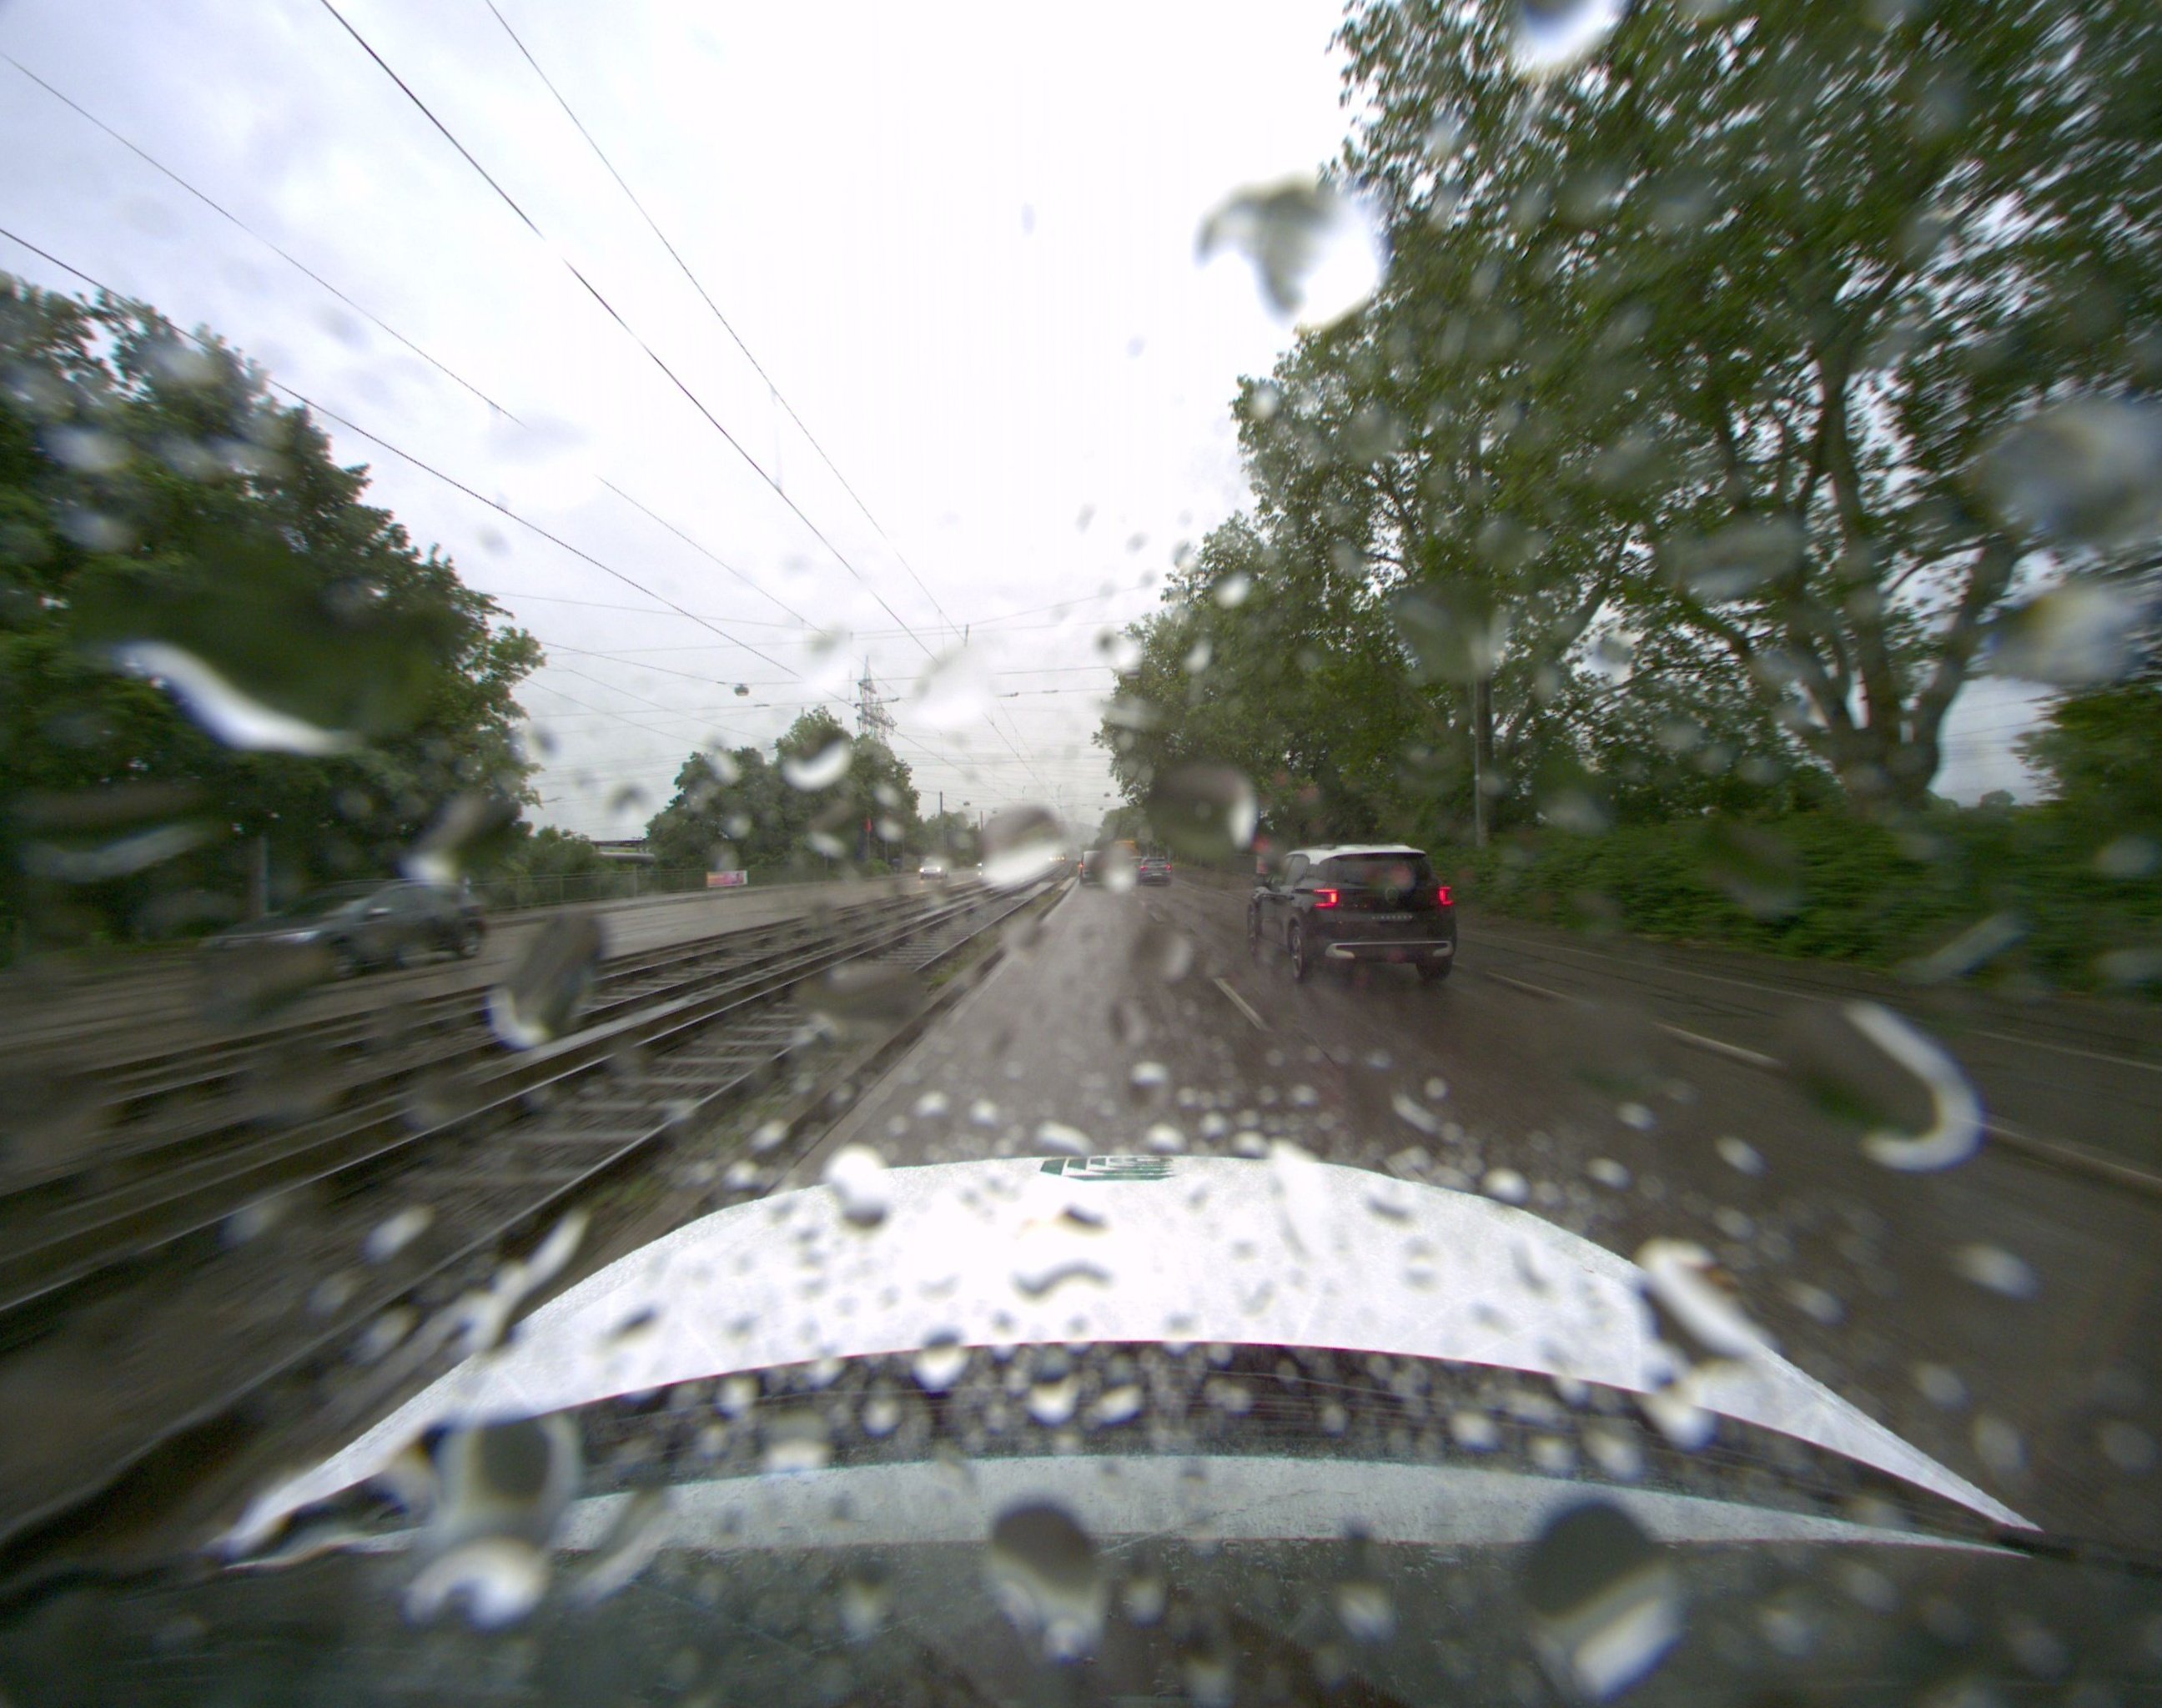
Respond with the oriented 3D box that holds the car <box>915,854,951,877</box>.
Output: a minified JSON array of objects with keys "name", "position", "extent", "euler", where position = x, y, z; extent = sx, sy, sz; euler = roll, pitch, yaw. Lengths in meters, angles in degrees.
[{"name":"car","position":[-12.213,0.930,67.555],"extent":[1.987,1.816,4.659],"euler":[-1,0,1]}]

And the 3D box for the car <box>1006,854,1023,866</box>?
[{"name":"car","position":[-8.727,0.833,106.938],"extent":[1.650,1.486,4.015],"euler":[-1,0,2]}]

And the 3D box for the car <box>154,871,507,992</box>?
[{"name":"car","position":[-12.543,1.183,14.102],"extent":[1.985,1.618,4.256],"euler":[-2,0,3]}]

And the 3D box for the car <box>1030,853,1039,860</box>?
[{"name":"car","position":[-12.427,0.740,216.617],"extent":[1.985,1.903,4.003],"euler":[0,0,2]}]

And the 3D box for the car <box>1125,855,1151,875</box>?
[{"name":"car","position":[4.254,0.815,61.410],"extent":[1.811,1.414,3.780],"euler":[0,1,2]}]

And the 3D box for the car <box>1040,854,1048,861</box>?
[{"name":"car","position":[-10.821,1.102,239.960],"extent":[1.985,1.903,4.003],"euler":[0,0,2]}]

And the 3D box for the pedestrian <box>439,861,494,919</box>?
[{"name":"pedestrian","position":[-19.774,1.144,26.240],"extent":[0.848,1.759,1.121],"euler":[-2,0,1]}]

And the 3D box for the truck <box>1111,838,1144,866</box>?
[{"name":"truck","position":[4.697,-0.216,83.855],"extent":[3.102,2.773,6.330],"euler":[-1,0,1]}]

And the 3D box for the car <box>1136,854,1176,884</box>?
[{"name":"car","position":[3.806,0.727,41.698],"extent":[1.811,1.414,3.780],"euler":[0,1,2]}]

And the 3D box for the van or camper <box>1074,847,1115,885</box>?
[{"name":"van or camper","position":[0.662,0.573,42.259],"extent":[1.988,1.784,3.998],"euler":[0,1,-1]}]

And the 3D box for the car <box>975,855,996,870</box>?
[{"name":"car","position":[-12.561,1.092,107.203],"extent":[1.985,1.816,4.003],"euler":[-1,0,2]}]

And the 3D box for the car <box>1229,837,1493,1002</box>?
[{"name":"car","position":[3.362,0.642,10.871],"extent":[1.893,1.716,4.725],"euler":[0,1,0]}]
